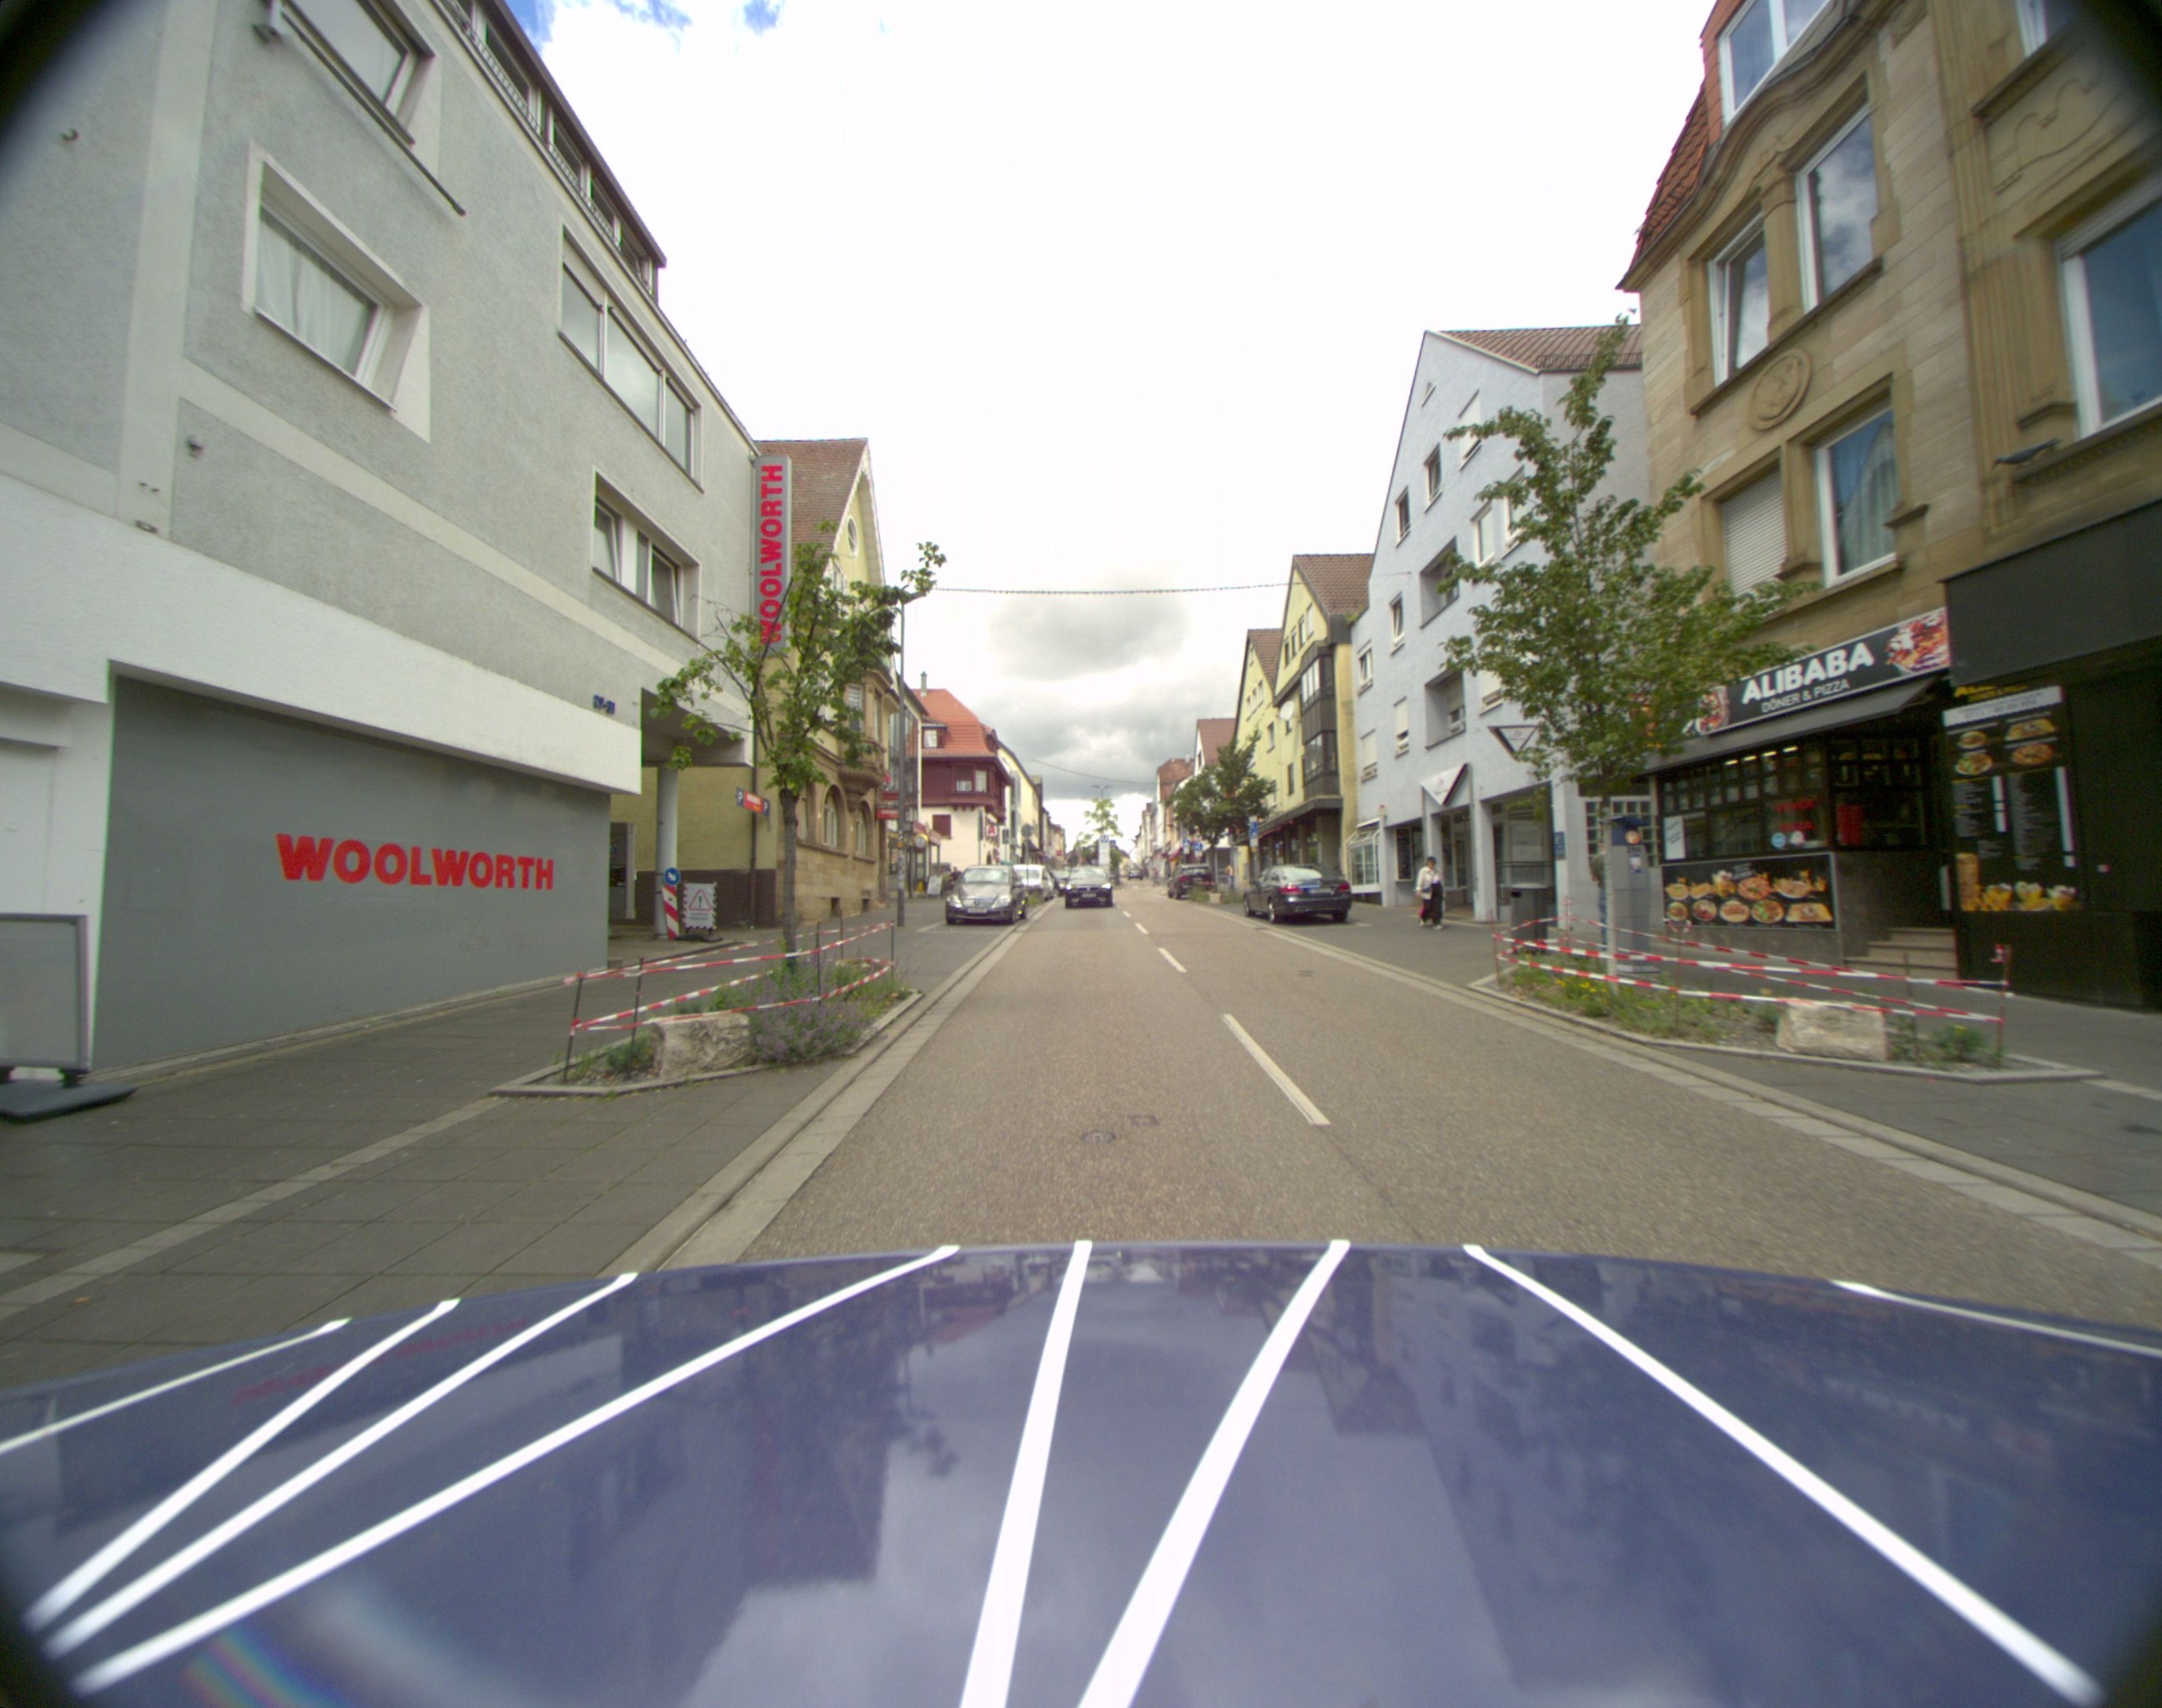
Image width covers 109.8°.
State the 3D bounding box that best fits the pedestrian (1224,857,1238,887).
[{"bbox_3d":[8.978,1.073,45.588,0.638,1.728,0.836,0,0,-2],"label":"pedestrian"}]

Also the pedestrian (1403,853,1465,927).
[{"bbox_3d":[7.293,0.734,15.717,0.828,1.455,0.810,-3,0,0],"label":"pedestrian"}]

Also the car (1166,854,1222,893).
[{"bbox_3d":[5.477,0.957,37.315,2.012,1.683,4.608,-2,-1,0],"label":"car"}]

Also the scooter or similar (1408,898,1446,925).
[{"bbox_3d":[7.438,1.225,16.350,0.526,0.516,0.573,-3,0,0],"label":"scooter or similar"}]

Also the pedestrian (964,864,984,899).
[{"bbox_3d":[-5.236,1.334,37.095,0.798,1.717,1.053,0,0,1],"label":"pedestrian"}]

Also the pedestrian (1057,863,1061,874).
[{"bbox_3d":[-3.522,2.324,121.390,0.663,1.696,0.780,-1,-1,-1],"label":"pedestrian"}]

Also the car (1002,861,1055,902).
[{"bbox_3d":[-2.461,1.282,36.814,1.881,1.788,4.734,-1,-1,4],"label":"car"}]

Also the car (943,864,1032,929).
[{"bbox_3d":[-2.458,1.094,20.860,1.752,1.598,3.801,1,-1,3],"label":"car"}]

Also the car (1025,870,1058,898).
[{"bbox_3d":[-2.152,1.594,41.584,1.707,1.459,4.000,0,-1,-2],"label":"car"}]

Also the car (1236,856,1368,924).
[{"bbox_3d":[5.616,0.869,20.006,1.931,1.483,4.843,-3,-1,-1],"label":"car"}]

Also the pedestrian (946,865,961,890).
[{"bbox_3d":[-8.441,1.579,50.280,0.774,1.635,0.870,0,0,6],"label":"pedestrian"}]

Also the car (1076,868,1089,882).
[{"bbox_3d":[0.272,3.243,116.841,1.998,2.001,4.001,-1,-1,1],"label":"car"}]

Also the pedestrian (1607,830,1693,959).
[{"bbox_3d":[7.894,0.552,10.570,0.588,1.703,0.710,-3,0,0],"label":"pedestrian"}]

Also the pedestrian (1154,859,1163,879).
[{"bbox_3d":[6.741,1.292,66.387,0.696,1.729,0.825,-1,-1,3],"label":"pedestrian"}]

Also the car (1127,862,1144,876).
[{"bbox_3d":[6.978,1.893,96.997,1.968,1.611,4.356,2,0,3],"label":"car"}]

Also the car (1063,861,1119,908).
[{"bbox_3d":[0.337,1.140,29.920,1.914,1.559,4.372,-4,0,-1],"label":"car"}]

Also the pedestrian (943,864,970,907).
[{"bbox_3d":[-4.942,1.234,30.198,0.825,1.656,0.802,-1,0,6],"label":"pedestrian"}]
